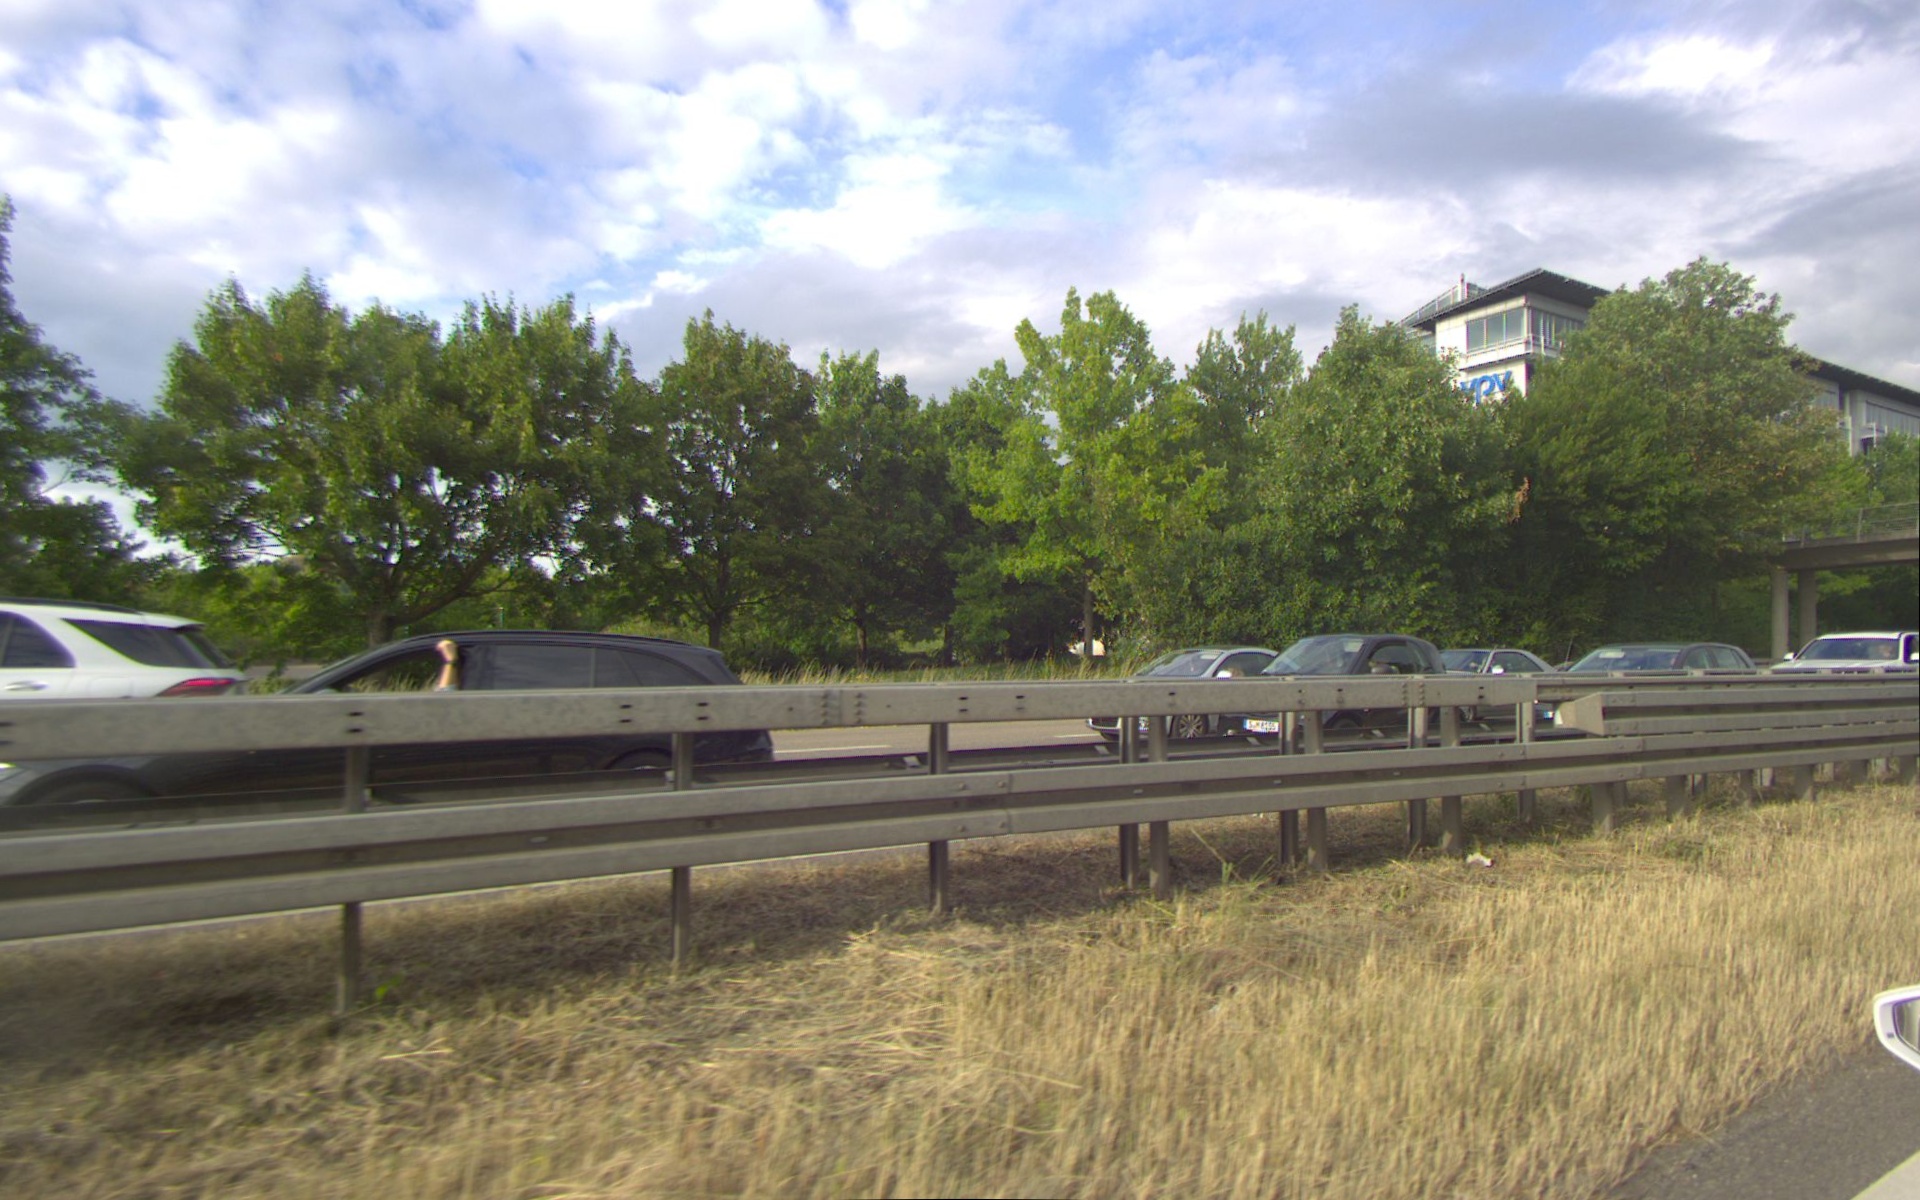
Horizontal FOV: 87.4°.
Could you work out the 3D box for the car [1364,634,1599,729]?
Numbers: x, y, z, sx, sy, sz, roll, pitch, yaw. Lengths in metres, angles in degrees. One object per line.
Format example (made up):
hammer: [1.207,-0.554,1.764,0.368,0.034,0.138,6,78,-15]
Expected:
car: [9.680,1.434,18.574,4.344,1.556,1.826,2,-2,-30]

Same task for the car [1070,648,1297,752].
car: [3.355,1.411,14.946,3.274,1.371,1.421,2,-2,-33]

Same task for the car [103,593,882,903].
car: [-2.947,0.837,7.139,4.502,1.610,1.704,1,-2,-31]

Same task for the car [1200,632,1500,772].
car: [4.643,1.095,11.876,3.423,1.378,1.548,1,-1,-31]

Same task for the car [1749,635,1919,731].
car: [16.965,1.471,18.868,4.735,1.605,1.814,1,-2,-31]

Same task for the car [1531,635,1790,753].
car: [10.123,1.262,14.475,3.691,1.486,1.710,1,-2,-31]

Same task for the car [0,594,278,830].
car: [-8.474,0.880,8.028,4.787,1.772,2.026,1,-4,-29]
